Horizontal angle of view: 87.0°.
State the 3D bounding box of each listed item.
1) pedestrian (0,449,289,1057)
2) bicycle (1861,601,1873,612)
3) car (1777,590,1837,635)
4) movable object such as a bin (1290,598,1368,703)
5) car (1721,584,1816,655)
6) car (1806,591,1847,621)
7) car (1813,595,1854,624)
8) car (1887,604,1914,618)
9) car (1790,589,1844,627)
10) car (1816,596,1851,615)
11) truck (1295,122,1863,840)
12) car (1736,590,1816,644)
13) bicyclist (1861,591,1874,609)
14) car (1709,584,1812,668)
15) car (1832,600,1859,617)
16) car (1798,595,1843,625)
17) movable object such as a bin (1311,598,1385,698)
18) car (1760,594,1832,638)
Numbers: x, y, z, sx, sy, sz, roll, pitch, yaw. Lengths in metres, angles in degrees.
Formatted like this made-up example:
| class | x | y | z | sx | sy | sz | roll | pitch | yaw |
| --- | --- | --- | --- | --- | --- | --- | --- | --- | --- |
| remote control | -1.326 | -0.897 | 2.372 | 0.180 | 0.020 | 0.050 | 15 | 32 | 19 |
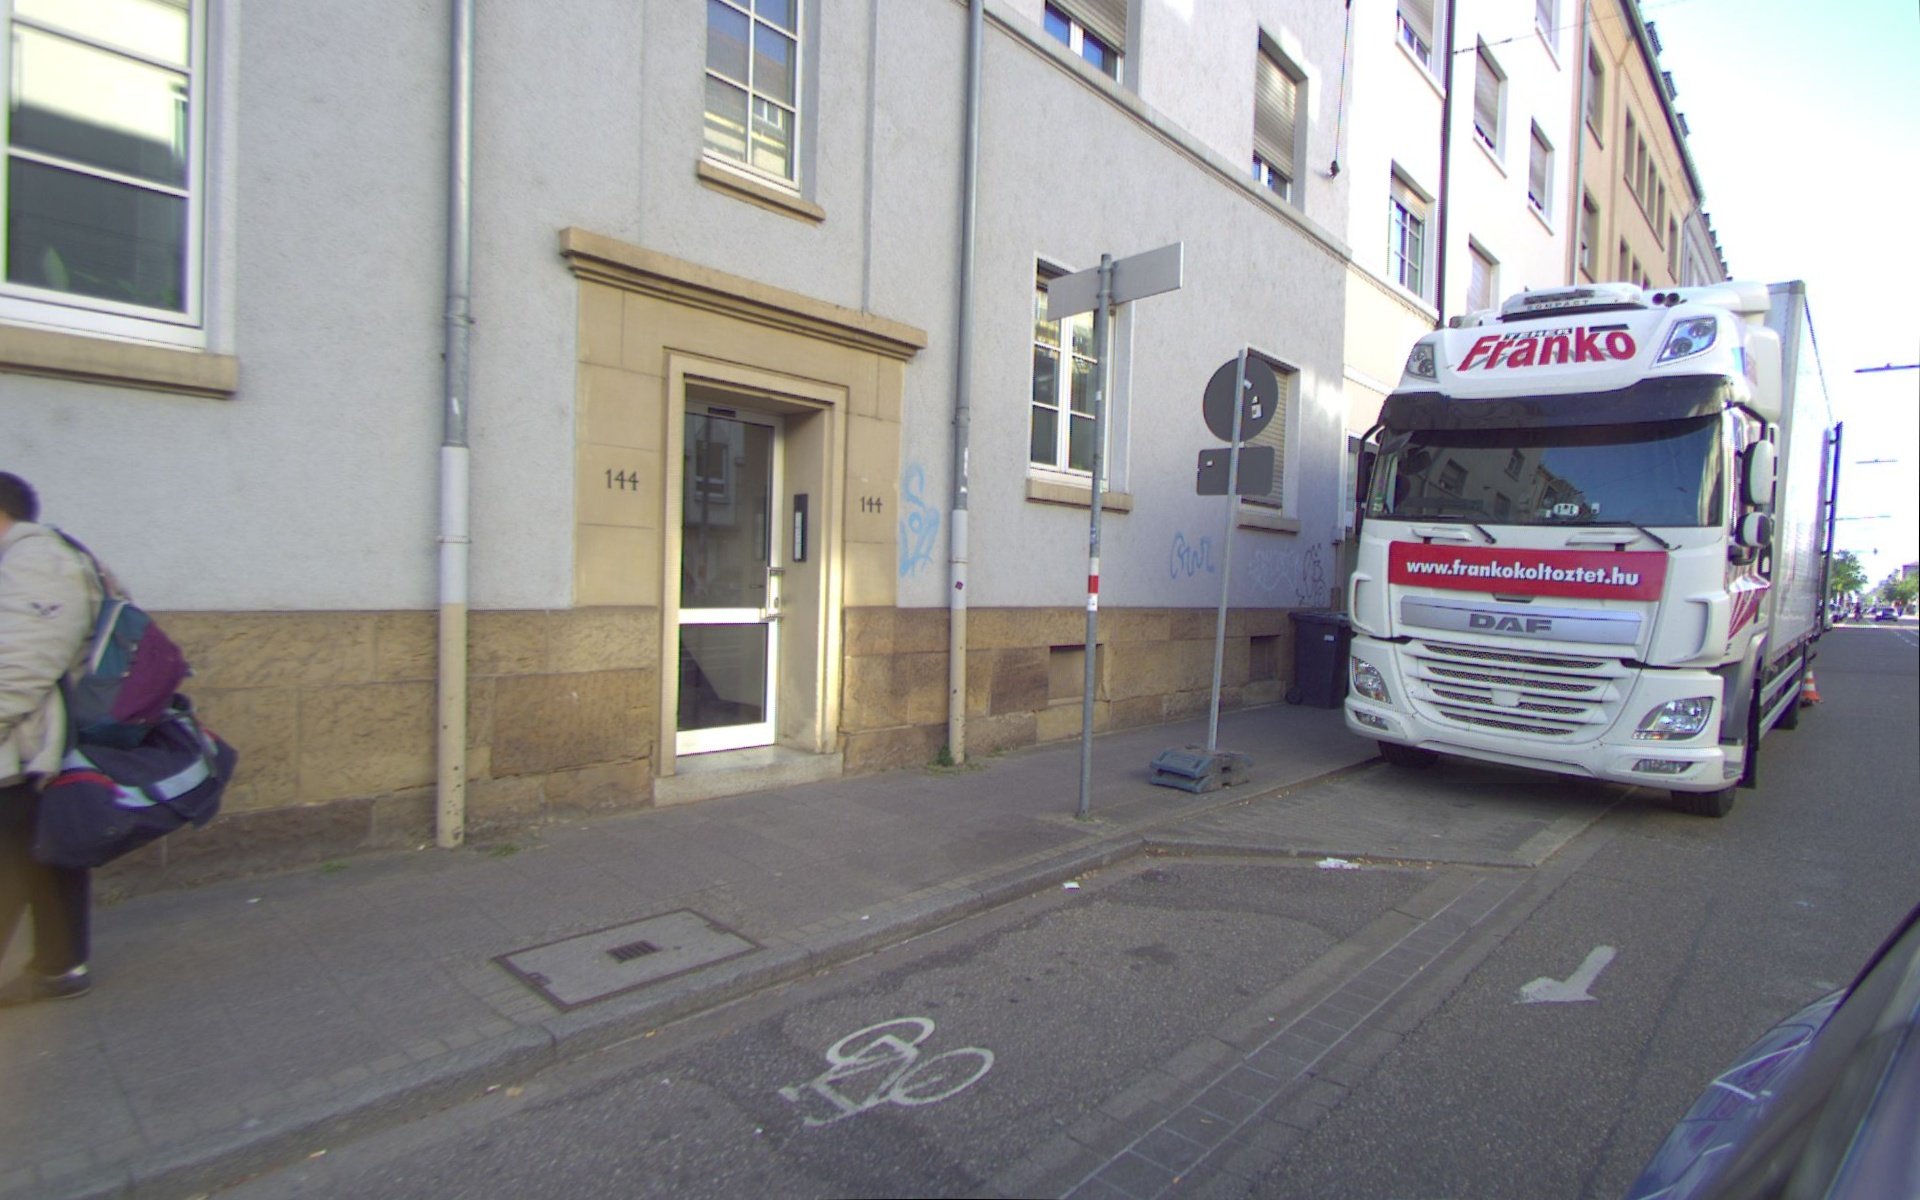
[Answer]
| class | x | y | z | sx | sy | sz | roll | pitch | yaw |
| --- | --- | --- | --- | --- | --- | --- | --- | --- | --- |
| pedestrian | -2.601 | 0.369 | 2.983 | 0.825 | 1.553 | 0.855 | 5 | 3 | 44 |
| bicycle | 75.873 | 0.563 | 84.648 | 0.742 | 0.866 | 1.856 | 3 | 2 | 43 |
| car | 35.343 | 0.488 | 42.181 | 1.708 | 1.714 | 4.520 | 4 | 3 | 42 |
| movable object such as a bin | 4.180 | 0.550 | 11.463 | 0.657 | 1.118 | 0.534 | 2 | 1 | 40 |
| car | 21.920 | 0.473 | 27.370 | 1.788 | 1.672 | 4.302 | 4 | 3 | 41 |
| car | 50.474 | 0.342 | 58.916 | 1.698 | 1.610 | 3.900 | 3 | 2 | 42 |
| car | 55.257 | 0.581 | 64.001 | 1.700 | 1.609 | 3.302 | 8 | 5 | 42 |
| car | 97.857 | 1.129 | 105.270 | 1.856 | 1.394 | 3.935 | 3 | 2 | 45 |
| car | 43.283 | 0.394 | 51.100 | 1.700 | 1.719 | 4.120 | 5 | 3 | 45 |
| car | 70.419 | 0.430 | 81.547 | 1.994 | 1.437 | 3.669 | 4 | 2 | 43 |
| truck | 7.653 | -0.731 | 11.047 | 2.860 | 4.123 | 11.593 | 3 | 2 | 43 |
| car | 25.064 | 0.482 | 31.063 | 1.609 | 1.481 | 3.425 | 4 | 3 | 43 |
| bicyclist | 75.978 | 0.003 | 84.713 | 0.742 | 1.508 | 0.803 | 3 | 1 | 43 |
| car | 17.960 | 0.505 | 22.682 | 1.590 | 1.628 | 4.186 | 4 | 3 | 39 |
| car | 90.394 | 0.862 | 103.294 | 1.993 | 1.660 | 3.938 | 4 | 2 | 42 |
| car | 47.000 | 0.522 | 55.262 | 1.699 | 1.523 | 3.803 | 3 | 2 | 43 |
| movable object such as a bin | 4.561 | 0.545 | 11.905 | 0.657 | 1.118 | 0.534 | 2 | 1 | 40 |
| car | 31.234 | 0.553 | 37.768 | 1.700 | 1.470 | 4.139 | 4 | 3 | 44 |
